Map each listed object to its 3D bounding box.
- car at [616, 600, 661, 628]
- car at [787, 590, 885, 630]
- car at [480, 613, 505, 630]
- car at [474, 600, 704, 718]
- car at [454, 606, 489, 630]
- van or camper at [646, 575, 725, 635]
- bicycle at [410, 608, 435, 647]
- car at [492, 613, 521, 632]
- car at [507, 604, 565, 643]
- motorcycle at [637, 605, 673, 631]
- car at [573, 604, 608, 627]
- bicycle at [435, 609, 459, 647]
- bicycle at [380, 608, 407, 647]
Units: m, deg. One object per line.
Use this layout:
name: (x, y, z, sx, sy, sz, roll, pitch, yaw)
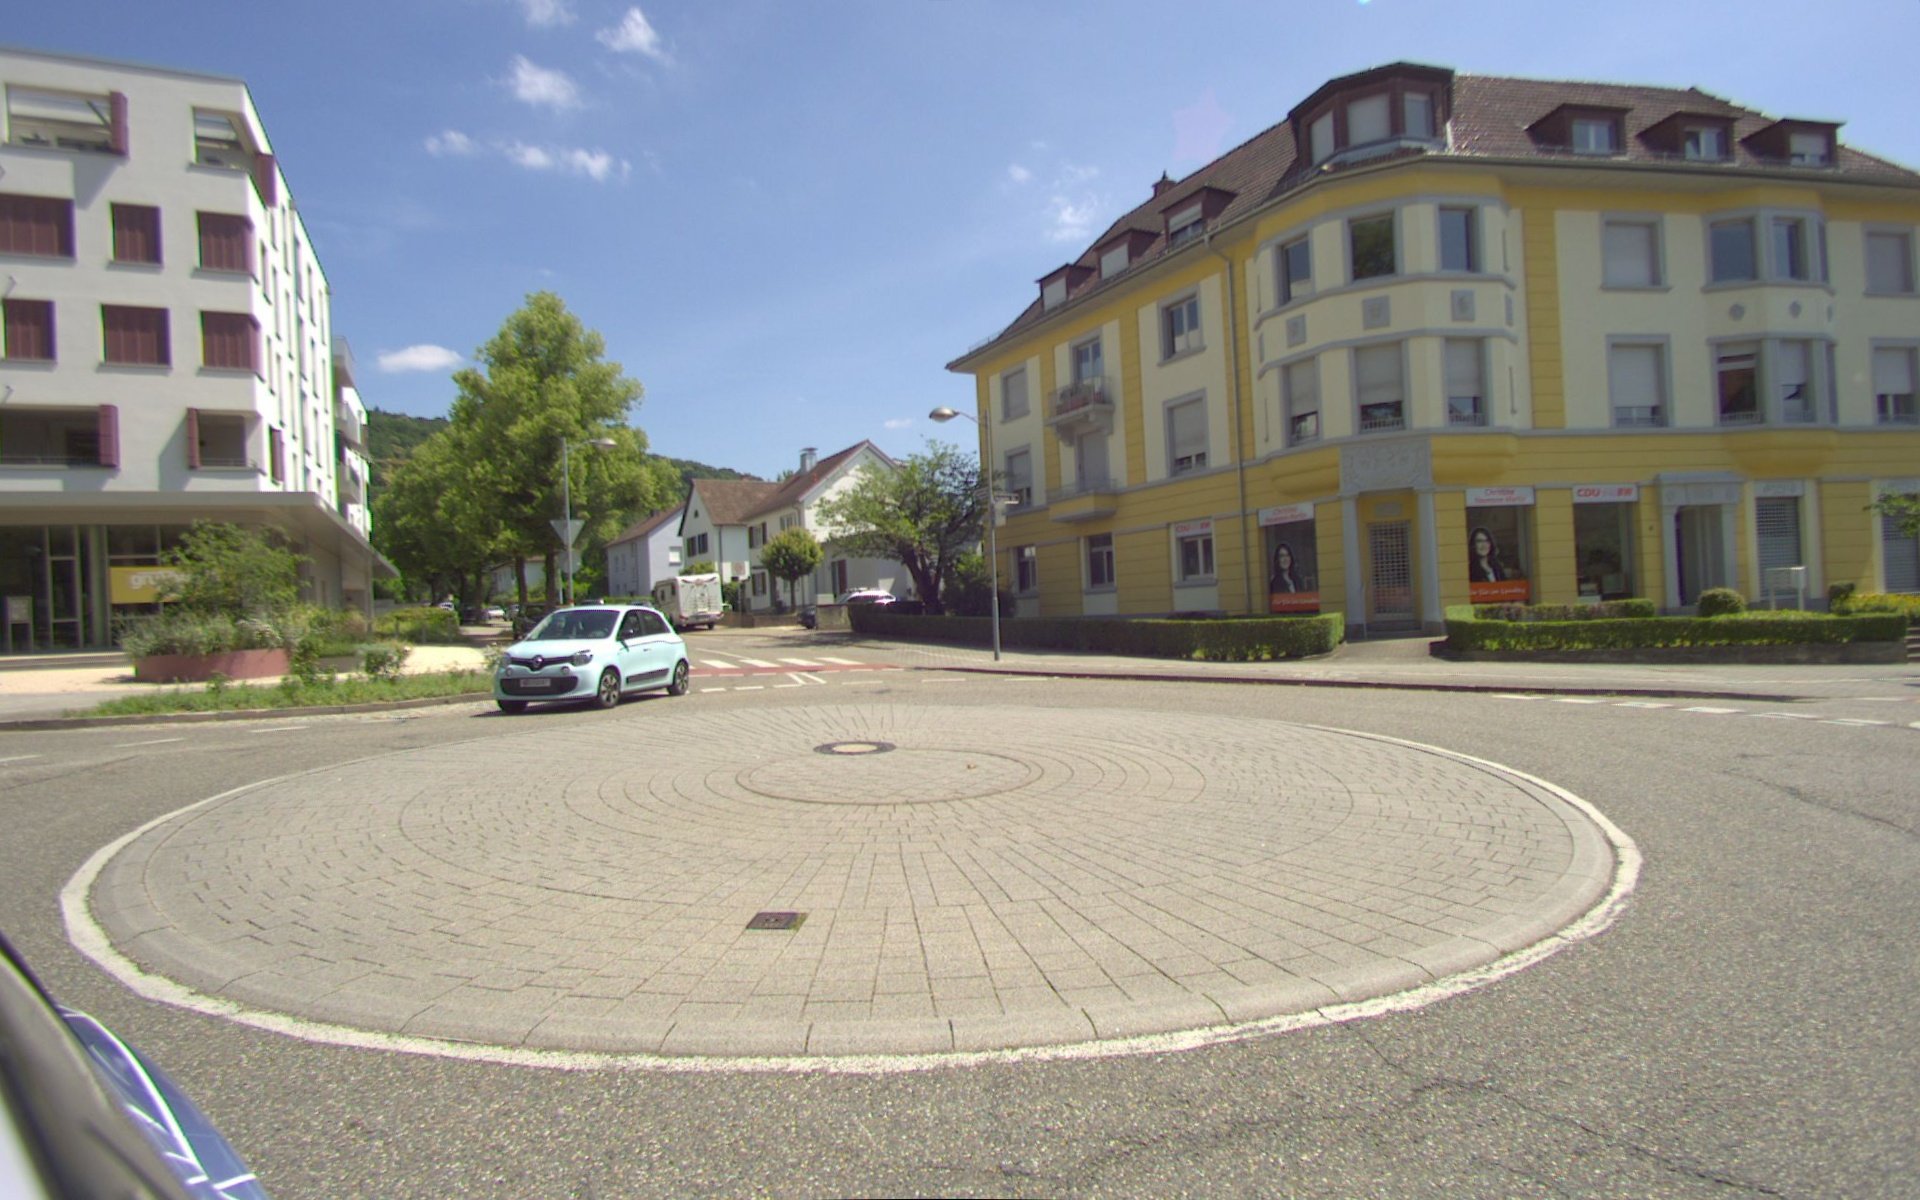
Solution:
car: (-18.684, 0.824, 58.688, 1.726, 1.516, 4.005, -2, 0, -28)
car: (-5.364, 0.439, 44.011, 3.932, 1.598, 1.758, -2, 0, -43)
car: (-49.003, 2.252, 106.114, 1.966, 1.678, 4.012, -1, 1, -31)
car: (-5.592, 0.825, 15.849, 1.640, 1.536, 4.153, -3, -1, 7)
car: (-36.401, 1.325, 75.398, 1.966, 1.678, 4.012, -1, 1, -31)
van or camper: (-13.650, 0.249, 50.022, 2.236, 2.658, 5.904, -5, 2, -29)
bicycle: (-19.833, 1.004, 37.372, 0.560, 1.388, 1.753, -1, 0, -21)
car: (-43.144, 2.145, 96.237, 1.966, 1.678, 4.012, -1, 1, -31)
car: (-17.916, 0.960, 42.677, 1.726, 1.516, 4.004, -2, 0, -30)
motorcycle: (-16.509, 0.970, 54.762, 0.733, 1.329, 2.221, -1, 0, 17)
car: (-26.193, 1.075, 71.691, 1.726, 1.516, 4.005, -2, 0, -28)
bicycle: (-19.075, 1.030, 37.645, 0.560, 1.388, 1.753, -1, 0, -21)
bicycle: (-20.730, 0.996, 37.062, 0.560, 1.388, 1.753, -1, 0, -21)
